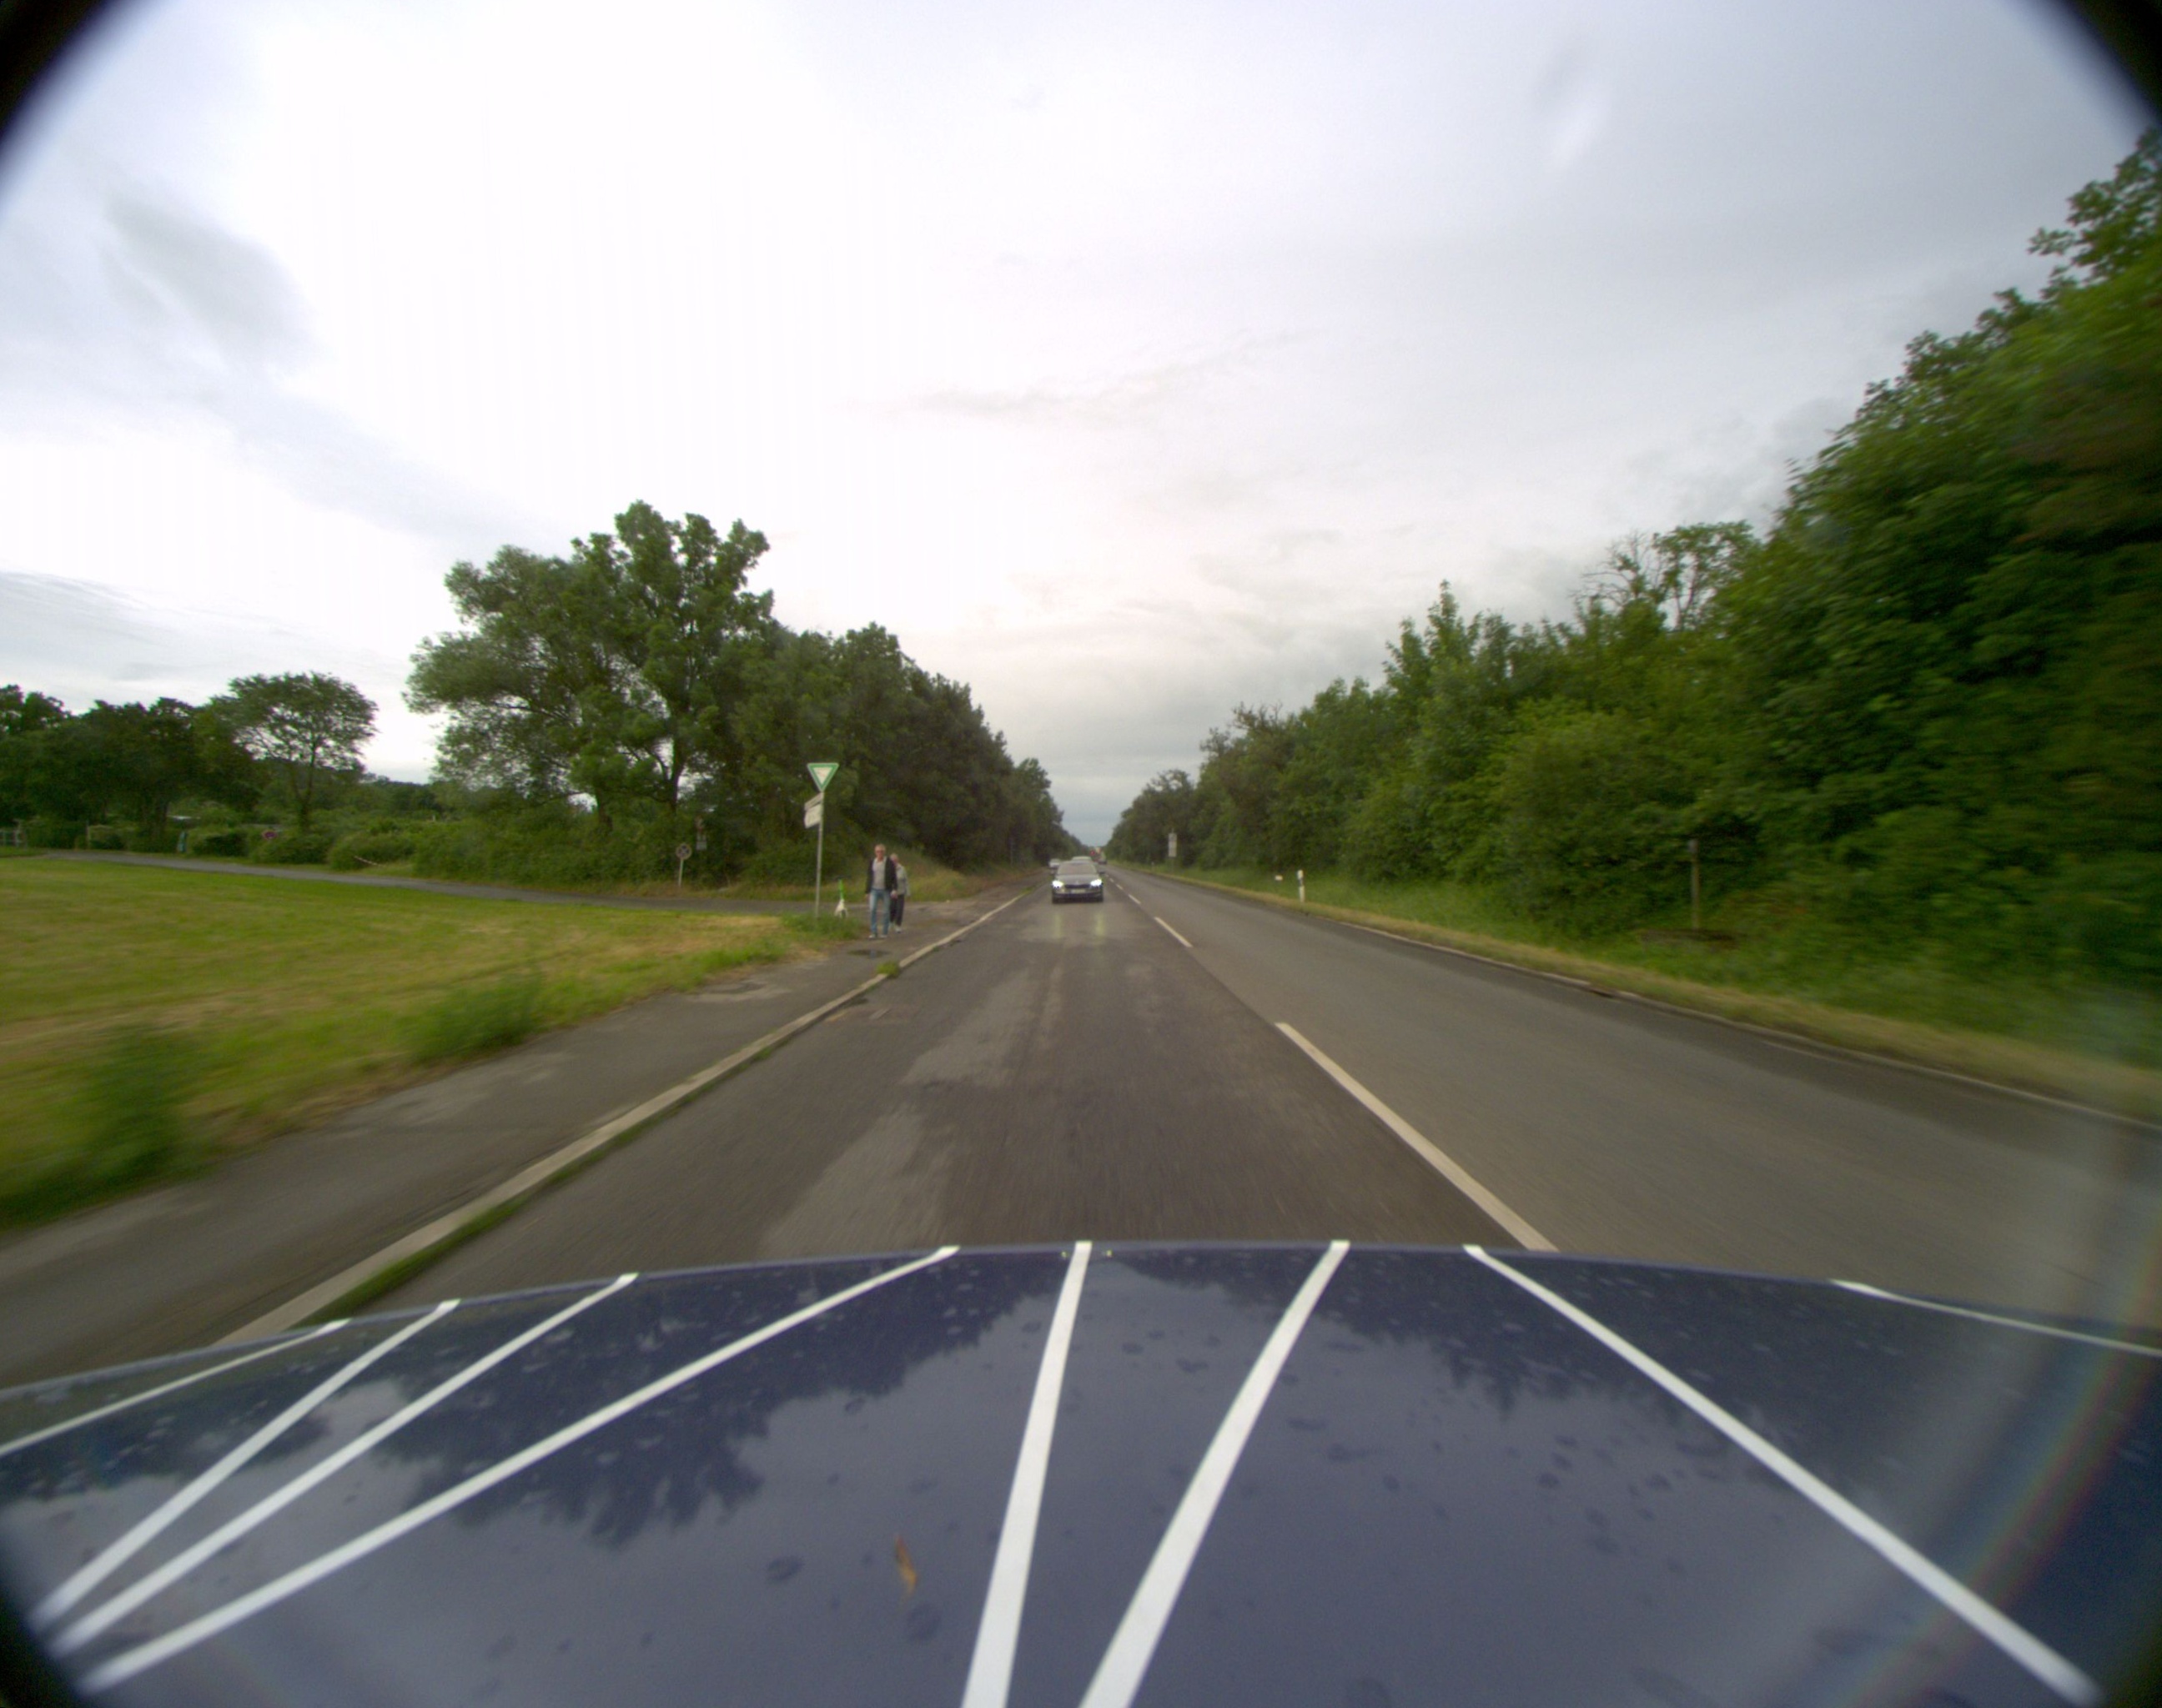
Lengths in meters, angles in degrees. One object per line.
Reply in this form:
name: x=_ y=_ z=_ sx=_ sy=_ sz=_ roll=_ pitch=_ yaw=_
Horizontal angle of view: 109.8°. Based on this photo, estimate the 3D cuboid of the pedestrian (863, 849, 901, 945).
pedestrian: x=-3.916 y=0.817 z=14.900 sx=0.696 sy=1.817 sz=0.800 roll=0 pitch=1 yaw=-16

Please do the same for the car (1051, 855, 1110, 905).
car: x=-0.013 y=0.867 z=27.602 sx=1.915 sy=1.543 sz=4.354 roll=-2 pitch=0 yaw=0

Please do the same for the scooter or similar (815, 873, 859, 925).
scooter or similar: x=-5.914 y=1.068 z=18.375 sx=1.323 sy=1.199 sz=0.375 roll=1 pitch=1 yaw=41

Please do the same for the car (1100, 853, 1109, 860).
car: x=5.469 y=0.536 z=175.516 sx=1.876 sy=1.480 sz=4.573 roll=2 pitch=0 yaw=0

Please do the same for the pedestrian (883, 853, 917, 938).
pedestrian: x=-3.898 y=0.866 z=16.311 sx=0.663 sy=1.768 sz=0.759 roll=0 pitch=1 yaw=-16

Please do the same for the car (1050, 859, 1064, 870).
car: x=-3.369 y=1.410 z=107.574 sx=1.748 sy=1.460 sz=4.220 roll=1 pitch=1 yaw=1

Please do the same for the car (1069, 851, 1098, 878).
car: x=0.176 y=0.672 z=52.392 sx=1.915 sy=1.690 sz=3.913 roll=-2 pitch=0 yaw=0
